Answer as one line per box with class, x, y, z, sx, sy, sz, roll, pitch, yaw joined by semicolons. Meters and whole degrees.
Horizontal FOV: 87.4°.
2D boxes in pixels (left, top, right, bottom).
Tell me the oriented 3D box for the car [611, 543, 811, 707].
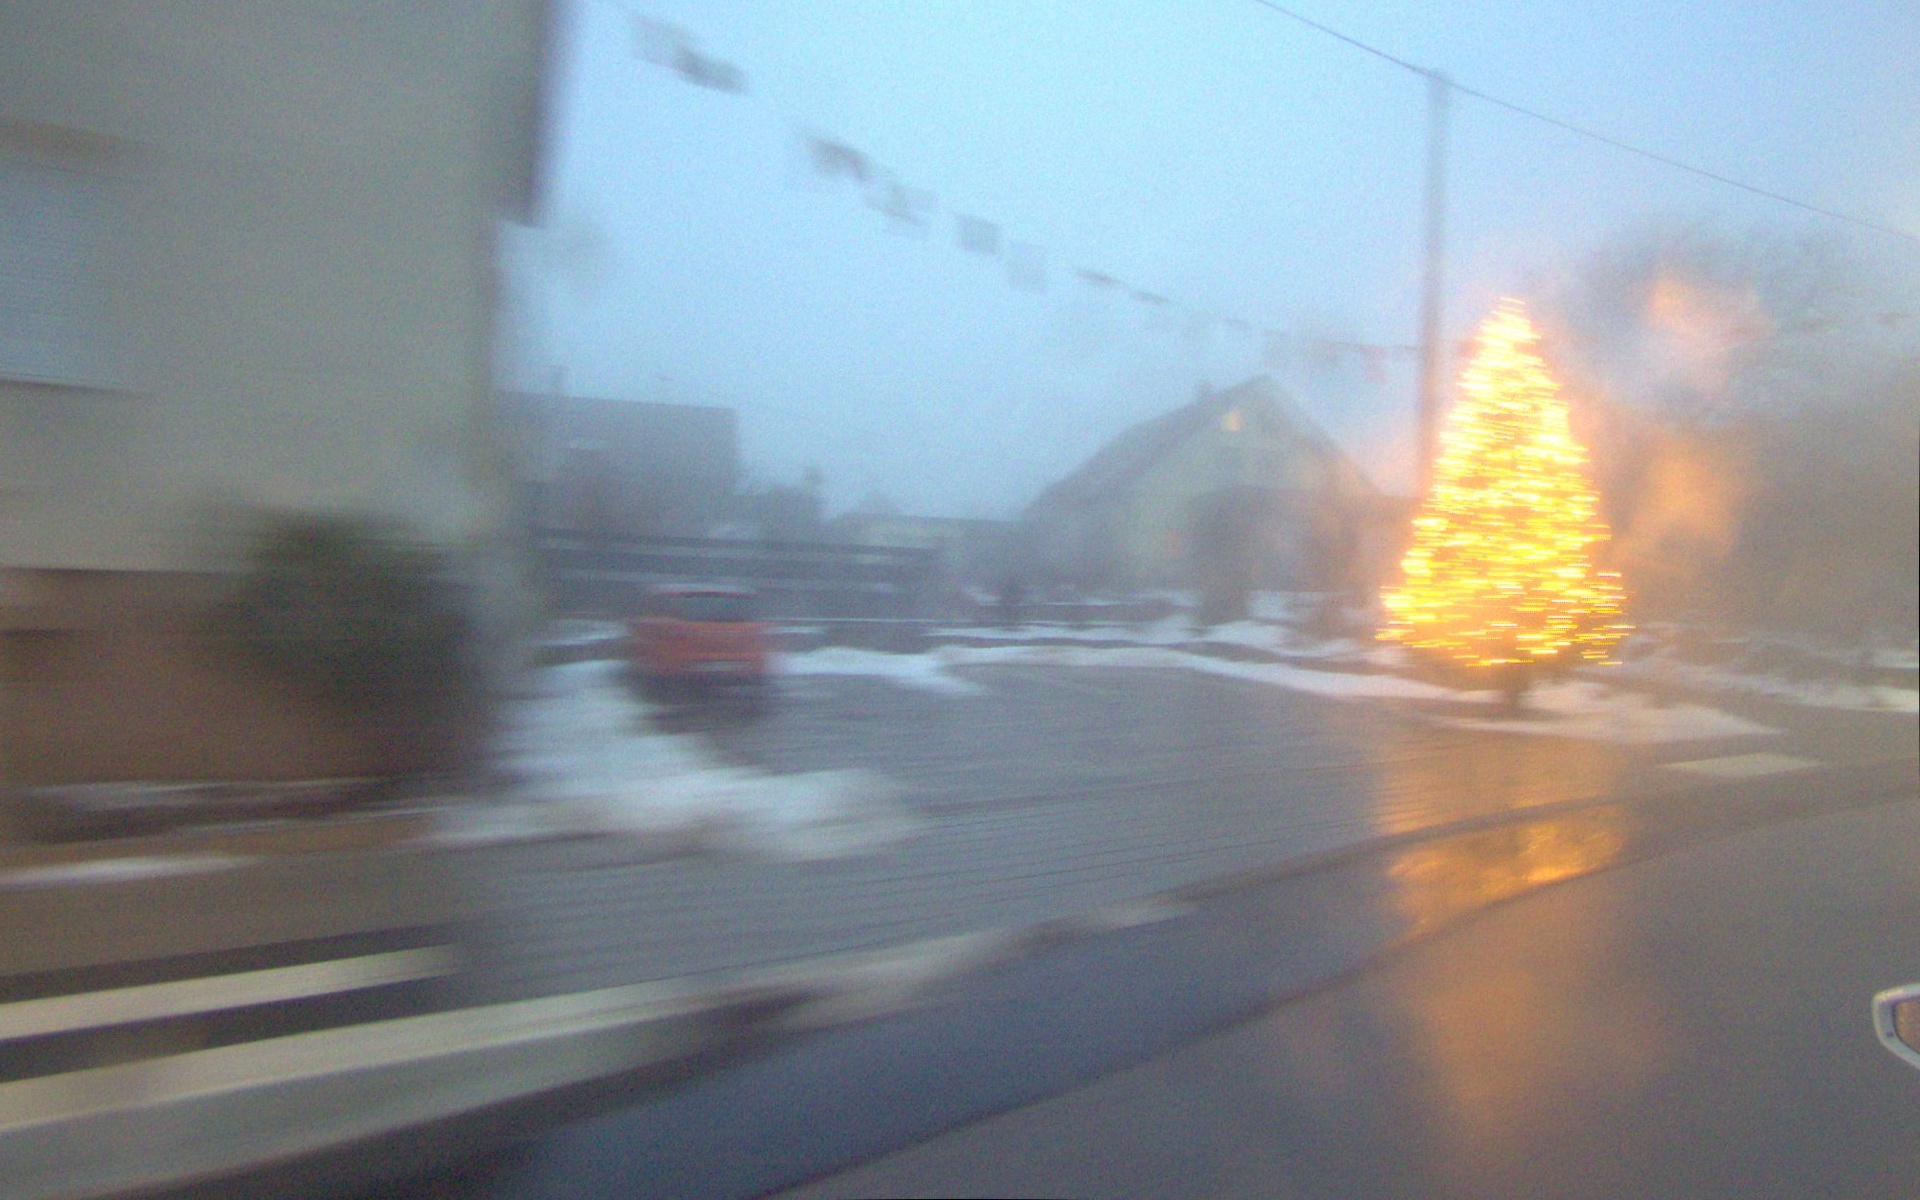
car;-3.453;0.236;13.383;1.887;1.815;3.806;3;1;-24
